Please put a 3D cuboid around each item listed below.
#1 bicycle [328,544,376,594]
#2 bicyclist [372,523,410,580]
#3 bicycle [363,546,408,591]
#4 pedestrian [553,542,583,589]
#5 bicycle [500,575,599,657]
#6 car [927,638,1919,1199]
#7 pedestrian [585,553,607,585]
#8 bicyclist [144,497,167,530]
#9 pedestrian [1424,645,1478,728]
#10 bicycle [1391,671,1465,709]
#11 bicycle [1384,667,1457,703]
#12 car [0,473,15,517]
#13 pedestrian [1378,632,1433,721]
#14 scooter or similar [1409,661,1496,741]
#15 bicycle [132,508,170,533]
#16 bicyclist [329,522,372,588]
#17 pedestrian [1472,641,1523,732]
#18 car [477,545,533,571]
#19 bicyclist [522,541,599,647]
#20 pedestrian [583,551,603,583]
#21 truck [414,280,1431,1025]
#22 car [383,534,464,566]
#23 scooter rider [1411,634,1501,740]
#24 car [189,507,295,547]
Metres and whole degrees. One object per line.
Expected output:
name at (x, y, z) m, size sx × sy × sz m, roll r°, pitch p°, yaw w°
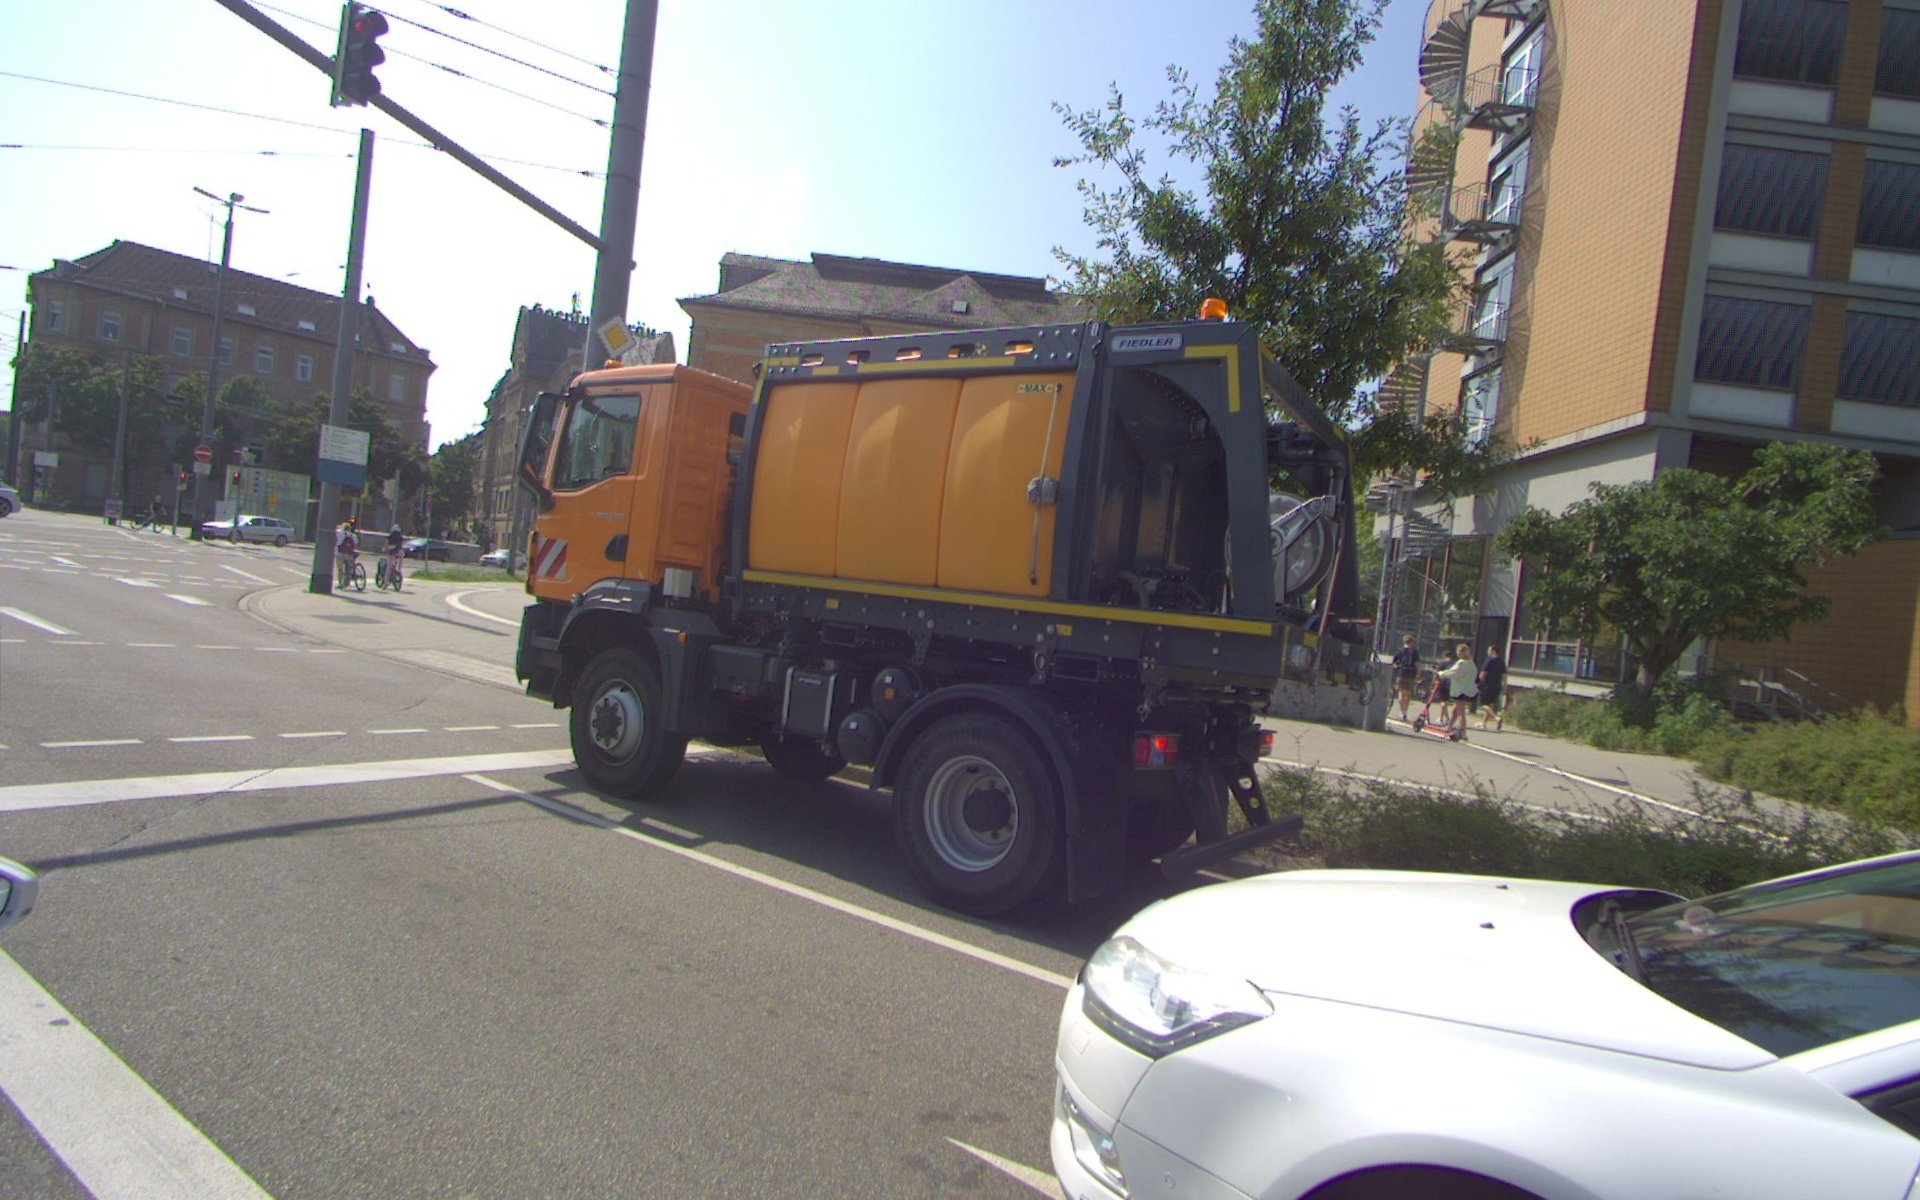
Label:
bicycle at (-14.957, -0.775, 24.741) m, size 1.632 × 1.068 × 0.535 m, roll 7°, pitch 1°, yaw 44°
bicyclist at (-15.072, -1.301, 26.660) m, size 0.882 × 1.410 × 0.529 m, roll 7°, pitch 1°, yaw 44°
bicycle at (-15.392, -0.848, 26.932) m, size 1.632 × 1.068 × 0.535 m, roll 7°, pitch 1°, yaw 44°
pedestrian at (-15.332, -1.349, 39.369) m, size 0.808 × 1.746 × 0.545 m, roll 7°, pitch 1°, yaw -10°
bicycle at (-6.471, 0.236, 15.802) m, size 1.794 × 1.068 × 0.492 m, roll 7°, pitch 1°, yaw 36°
car at (2.339, 1.082, 1.670) m, size 4.534 × 1.446 × 1.770 m, roll 7°, pitch 0°, yaw 33°
pedestrian at (-15.049, -1.277, 41.576) m, size 0.660 × 1.229 × 0.523 m, roll 6°, pitch 1°, yaw -30°
bicyclist at (-40.818, -4.379, 51.014) m, size 0.511 × 1.548 × 0.613 m, roll 7°, pitch 1°, yaw 8°
pedestrian at (10.809, 1.892, 22.172) m, size 0.665 × 1.695 × 0.837 m, roll 6°, pitch 1°, yaw 9°
bicycle at (13.991, 2.693, 30.111) m, size 1.866 × 0.850 × 0.549 m, roll 7°, pitch 1°, yaw 6°
bicycle at (14.093, 2.595, 30.809) m, size 1.866 × 0.850 × 0.549 m, roll 7°, pitch 1°, yaw 6°
car at (-38.466, -4.255, 37.542) m, size 1.721 × 1.638 × 4.337 m, roll 7°, pitch 0°, yaw 12°
pedestrian at (9.926, 1.687, 22.432) m, size 0.665 × 1.862 × 0.837 m, roll 6°, pitch 1°, yaw 1°
scooter or similar at (9.104, 1.851, 18.615) m, size 0.645 × 1.294 × 1.168 m, roll 8°, pitch -1°, yaw -32°
bicycle at (-41.045, -4.041, 51.044) m, size 1.622 × 1.068 × 0.471 m, roll 7°, pitch 1°, yaw 11°
bicyclist at (-15.106, -1.122, 24.936) m, size 0.702 × 1.537 × 0.626 m, roll 7°, pitch 1°, yaw 44°
pedestrian at (11.887, 1.896, 22.277) m, size 0.617 × 1.895 × 0.837 m, roll 6°, pitch 1°, yaw 13°
car at (-33.552, -3.087, 74.242) m, size 1.742 × 1.433 × 4.203 m, roll 7°, pitch 0°, yaw 7°
bicyclist at (-6.204, -0.089, 15.637) m, size 0.653 × 1.537 × 0.734 m, roll 7°, pitch 1°, yaw 36°
pedestrian at (-19.085, -1.708, 52.294) m, size 0.727 × 1.595 × 0.787 m, roll 6°, pitch 1°, yaw -14°
truck at (-0.680, 0.016, 7.174) m, size 6.750 × 3.171 × 2.495 m, roll 7°, pitch -1°, yaw 34°
car at (-34.098, -3.155, 64.100) m, size 1.742 × 1.433 × 4.771 m, roll 7°, pitch 0°, yaw 12°
scooter rider at (9.151, 1.600, 18.565) m, size 0.852 × 1.779 × 1.031 m, roll 8°, pitch -1°, yaw -33°
car at (-36.410, -3.670, 51.178) m, size 1.742 × 1.433 × 4.190 m, roll 7°, pitch 0°, yaw 13°
